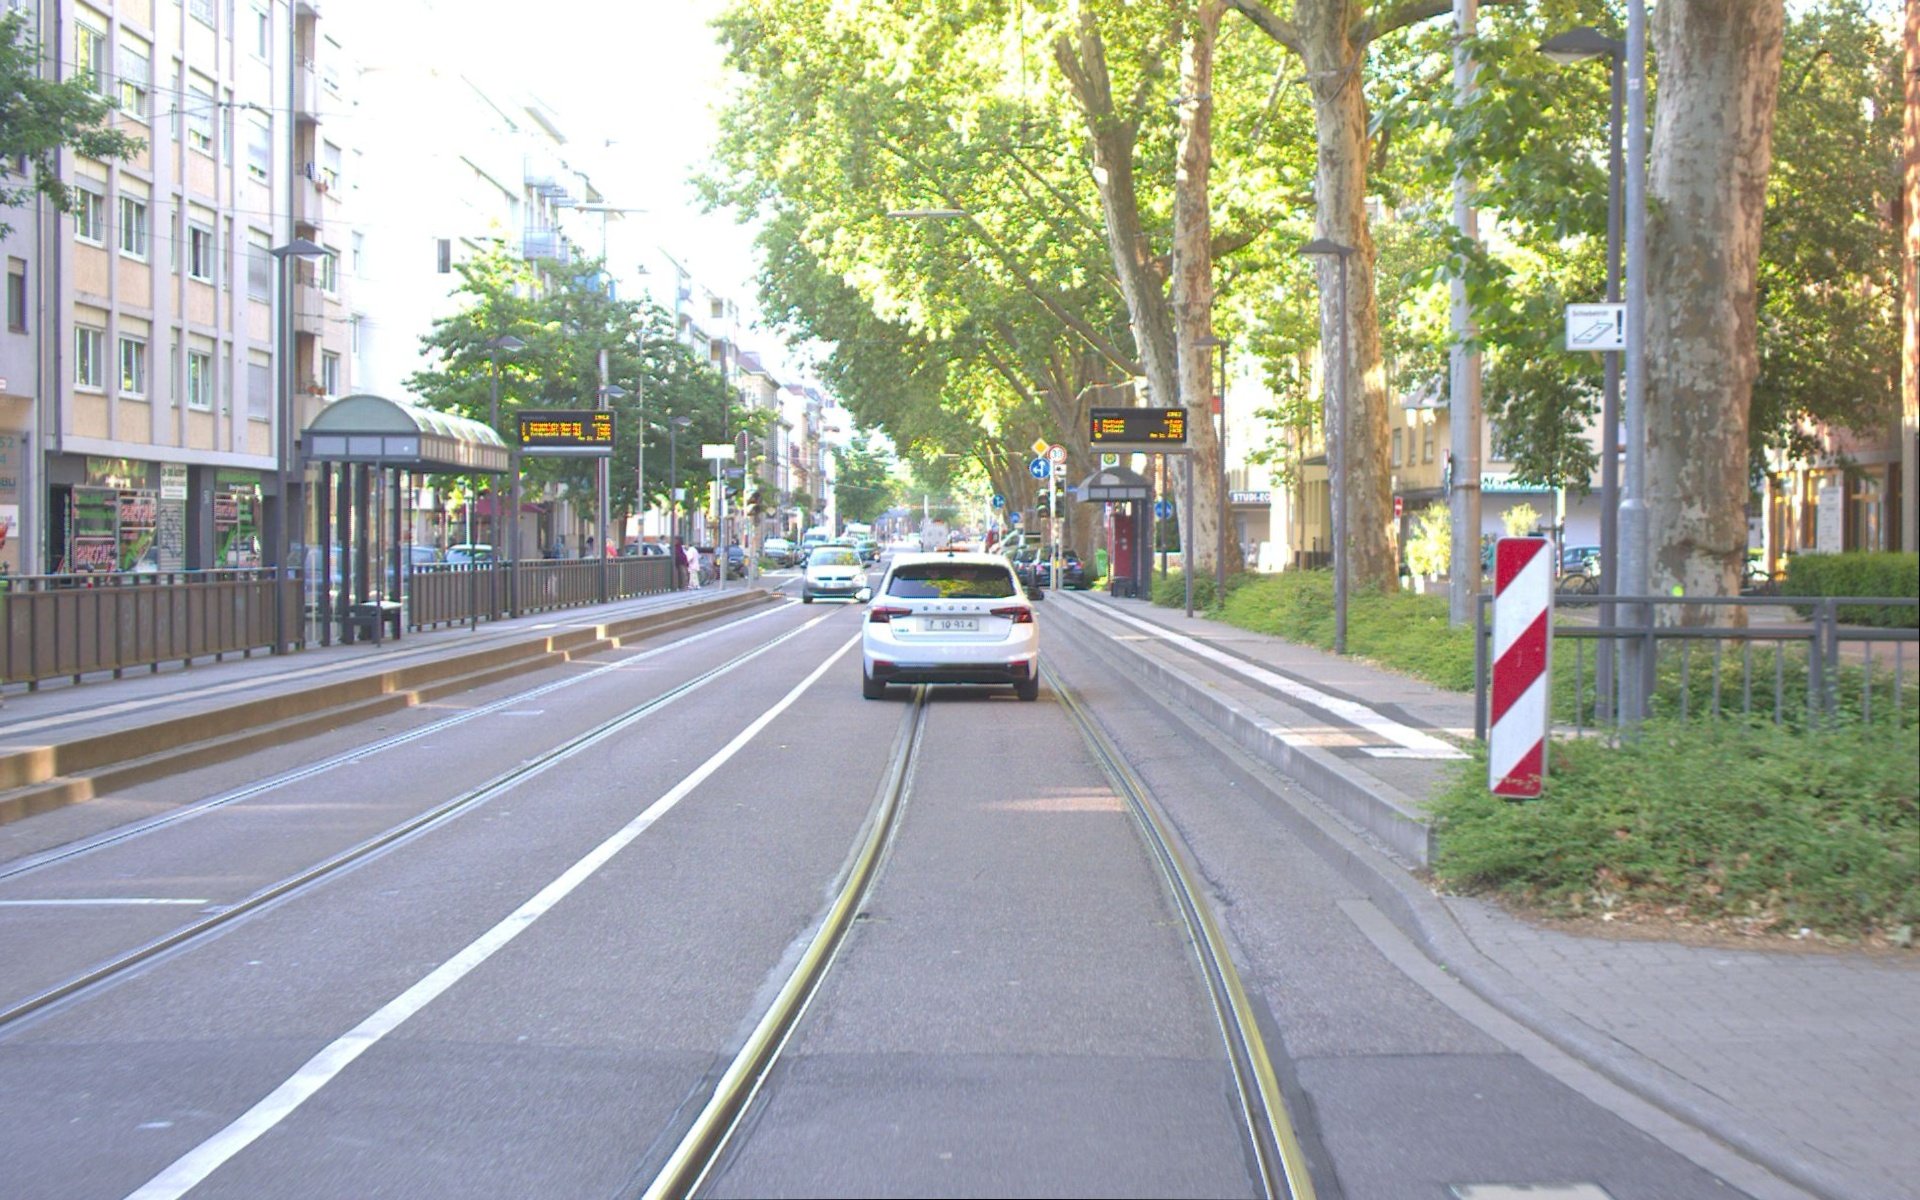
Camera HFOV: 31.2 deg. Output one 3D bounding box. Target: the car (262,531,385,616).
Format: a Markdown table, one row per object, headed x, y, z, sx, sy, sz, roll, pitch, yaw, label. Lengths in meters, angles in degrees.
| x | y | z | sx | sy | sz | roll | pitch | yaw | label |
| --- | --- | --- | --- | --- | --- | --- | --- | --- | --- |
| -12.327 | -0.537 | 66.754 | 1.593 | 1.543 | 4.000 | 2 | 1 | 0 | car |

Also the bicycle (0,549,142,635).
| x | y | z | sx | sy | sz | roll | pitch | yaw | label |
| --- | --- | --- | --- | --- | --- | --- | --- | --- | --- |
| -12.692 | -0.126 | 48.174 | 2.253 | 1.070 | 0.636 | 3 | 1 | 1 | bicycle |

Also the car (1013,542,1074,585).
| x | y | z | sx | sy | sz | roll | pitch | yaw | label |
| --- | --- | --- | --- | --- | --- | --- | --- | --- | --- |
| 2.887 | -1.289 | 119.403 | 1.993 | 1.448 | 4.000 | 0 | 1 | 0 | car |

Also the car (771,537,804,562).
| x | y | z | sx | sy | sz | roll | pitch | yaw | label |
| --- | --- | --- | --- | --- | --- | --- | --- | --- | --- |
| -10.432 | -3.062 | 208.285 | 1.788 | 1.508 | 4.000 | 0 | 1 | 0 | car |

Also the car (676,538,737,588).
| x | y | z | sx | sy | sz | roll | pitch | yaw | label |
| --- | --- | --- | --- | --- | --- | --- | --- | --- | --- |
| -8.281 | -1.223 | 112.532 | 1.678 | 1.543 | 4.000 | 2 | 1 | 0 | car |

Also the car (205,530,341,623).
| x | y | z | sx | sy | sz | roll | pitch | yaw | label |
| --- | --- | --- | --- | --- | --- | --- | --- | --- | --- |
| -12.292 | -0.452 | 61.689 | 1.593 | 1.543 | 4.000 | 2 | 1 | 0 | car |

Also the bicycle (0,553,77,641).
| x | y | z | sx | sy | sz | roll | pitch | yaw | label |
| --- | --- | --- | --- | --- | --- | --- | --- | --- | --- |
| -12.685 | -0.080 | 44.596 | 2.253 | 1.070 | 0.636 | 3 | 1 | 1 | bicycle |

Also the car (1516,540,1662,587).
| x | y | z | sx | sy | sz | roll | pitch | yaw | label |
| --- | --- | --- | --- | --- | --- | --- | --- | --- | --- |
| 18.381 | -1.070 | 100.578 | 3.987 | 1.368 | 1.867 | 0 | 1 | 2 | car |

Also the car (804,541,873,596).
| x | y | z | sx | sy | sz | roll | pitch | yaw | label |
| --- | --- | --- | --- | --- | --- | --- | --- | --- | --- |
| -3.180 | -0.852 | 90.582 | 1.694 | 1.414 | 4.000 | 0 | 1 | 0 | car |

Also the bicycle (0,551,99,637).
| x | y | z | sx | sy | sz | roll | pitch | yaw | label |
| --- | --- | --- | --- | --- | --- | --- | --- | --- | --- |
| -12.837 | -0.111 | 46.344 | 2.253 | 1.070 | 0.636 | 3 | 1 | 1 | bicycle |

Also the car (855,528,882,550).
| x | y | z | sx | sy | sz | roll | pitch | yaw | label |
| --- | --- | --- | --- | --- | --- | --- | --- | --- | --- |
| -6.330 | -4.220 | 237.965 | 1.788 | 1.508 | 4.000 | 0 | 1 | 0 | car |

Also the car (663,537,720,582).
| x | y | z | sx | sy | sz | roll | pitch | yaw | label |
| --- | --- | --- | --- | --- | --- | --- | --- | --- | --- |
| -9.694 | -1.478 | 124.286 | 1.678 | 1.543 | 4.000 | 2 | 1 | 0 | car |

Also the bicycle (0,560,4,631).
| x | y | z | sx | sy | sz | roll | pitch | yaw | label |
| --- | --- | --- | --- | --- | --- | --- | --- | --- | --- |
| -12.617 | 0.002 | 40.899 | 2.253 | 1.070 | 0.636 | 3 | 1 | 1 | bicycle |

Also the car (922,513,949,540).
| x | y | z | sx | sy | sz | roll | pitch | yaw | label |
| --- | --- | --- | --- | --- | --- | --- | --- | --- | --- |
| -1.658 | -5.020 | 235.146 | 1.866 | 1.886 | 4.000 | 0 | 1 | 0 | car |

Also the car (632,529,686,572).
| x | y | z | sx | sy | sz | roll | pitch | yaw | label |
| --- | --- | --- | --- | --- | --- | --- | --- | --- | --- |
| -11.546 | -1.910 | 132.049 | 1.678 | 1.543 | 4.000 | 2 | 1 | 0 | car |

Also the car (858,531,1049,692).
| x | y | z | sx | sy | sz | roll | pitch | yaw | label |
| --- | --- | --- | --- | --- | --- | --- | --- | --- | --- |
| -0.063 | 0.065 | 34.251 | 1.788 | 1.508 | 4.000 | 0 | 1 | 0 | car |

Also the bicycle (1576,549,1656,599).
| x | y | z | sx | sy | sz | roll | pitch | yaw | label |
| --- | --- | --- | --- | --- | --- | --- | --- | --- | --- |
| 13.742 | -0.548 | 72.031 | 1.568 | 1.034 | 0.504 | 0 | 1 | 22 | bicycle |

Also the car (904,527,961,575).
| x | y | z | sx | sy | sz | roll | pitch | yaw | label |
| --- | --- | --- | --- | --- | --- | --- | --- | --- | --- |
| -0.853 | -1.580 | 109.986 | 1.788 | 1.508 | 4.000 | 0 | 1 | 0 | car |

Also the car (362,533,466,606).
| x | y | z | sx | sy | sz | roll | pitch | yaw | label |
| --- | --- | --- | --- | --- | --- | --- | --- | --- | --- |
| -12.384 | -0.722 | 78.106 | 1.678 | 1.543 | 4.000 | 2 | 1 | 0 | car |

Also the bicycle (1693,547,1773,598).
| x | y | z | sx | sy | sz | roll | pitch | yaw | label |
| --- | --- | --- | --- | --- | --- | --- | --- | --- | --- |
| 16.038 | -0.570 | 71.309 | 1.568 | 1.034 | 0.479 | 0 | 1 | 22 | bicycle |

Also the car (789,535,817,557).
| x | y | z | sx | sy | sz | roll | pitch | yaw | label |
| --- | --- | --- | --- | --- | --- | --- | --- | --- | --- |
| -11.069 | -3.822 | 242.800 | 1.788 | 1.508 | 4.000 | 0 | 1 | 0 | car |

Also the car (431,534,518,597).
| x | y | z | sx | sy | sz | roll | pitch | yaw | label |
| --- | --- | --- | --- | --- | --- | --- | --- | --- | --- |
| -12.722 | -0.927 | 90.265 | 1.678 | 1.543 | 4.000 | 2 | 1 | 0 | car |

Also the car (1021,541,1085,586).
| x | y | z | sx | sy | sz | roll | pitch | yaw | label |
| --- | --- | --- | --- | --- | --- | --- | --- | --- | --- |
| 3.074 | -1.236 | 114.315 | 1.993 | 1.448 | 4.000 | 0 | 1 | 0 | car |

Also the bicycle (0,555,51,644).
| x | y | z | sx | sy | sz | roll | pitch | yaw | label |
| --- | --- | --- | --- | --- | --- | --- | --- | --- | --- |
| -12.693 | -0.060 | 43.333 | 2.253 | 1.070 | 0.636 | 3 | 1 | 1 | bicycle |

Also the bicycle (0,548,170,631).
| x | y | z | sx | sy | sz | roll | pitch | yaw | label |
| --- | --- | --- | --- | --- | --- | --- | --- | --- | --- |
| -12.706 | -0.156 | 49.940 | 2.253 | 1.070 | 0.636 | 3 | 1 | 1 | bicycle |

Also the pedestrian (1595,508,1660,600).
| x | y | z | sx | sy | sz | roll | pitch | yaw | label |
| --- | --- | --- | --- | --- | --- | --- | --- | --- | --- |
| 11.756 | -0.810 | 60.591 | 0.972 | 1.618 | 0.887 | 0 | 1 | 0 | pedestrian |
